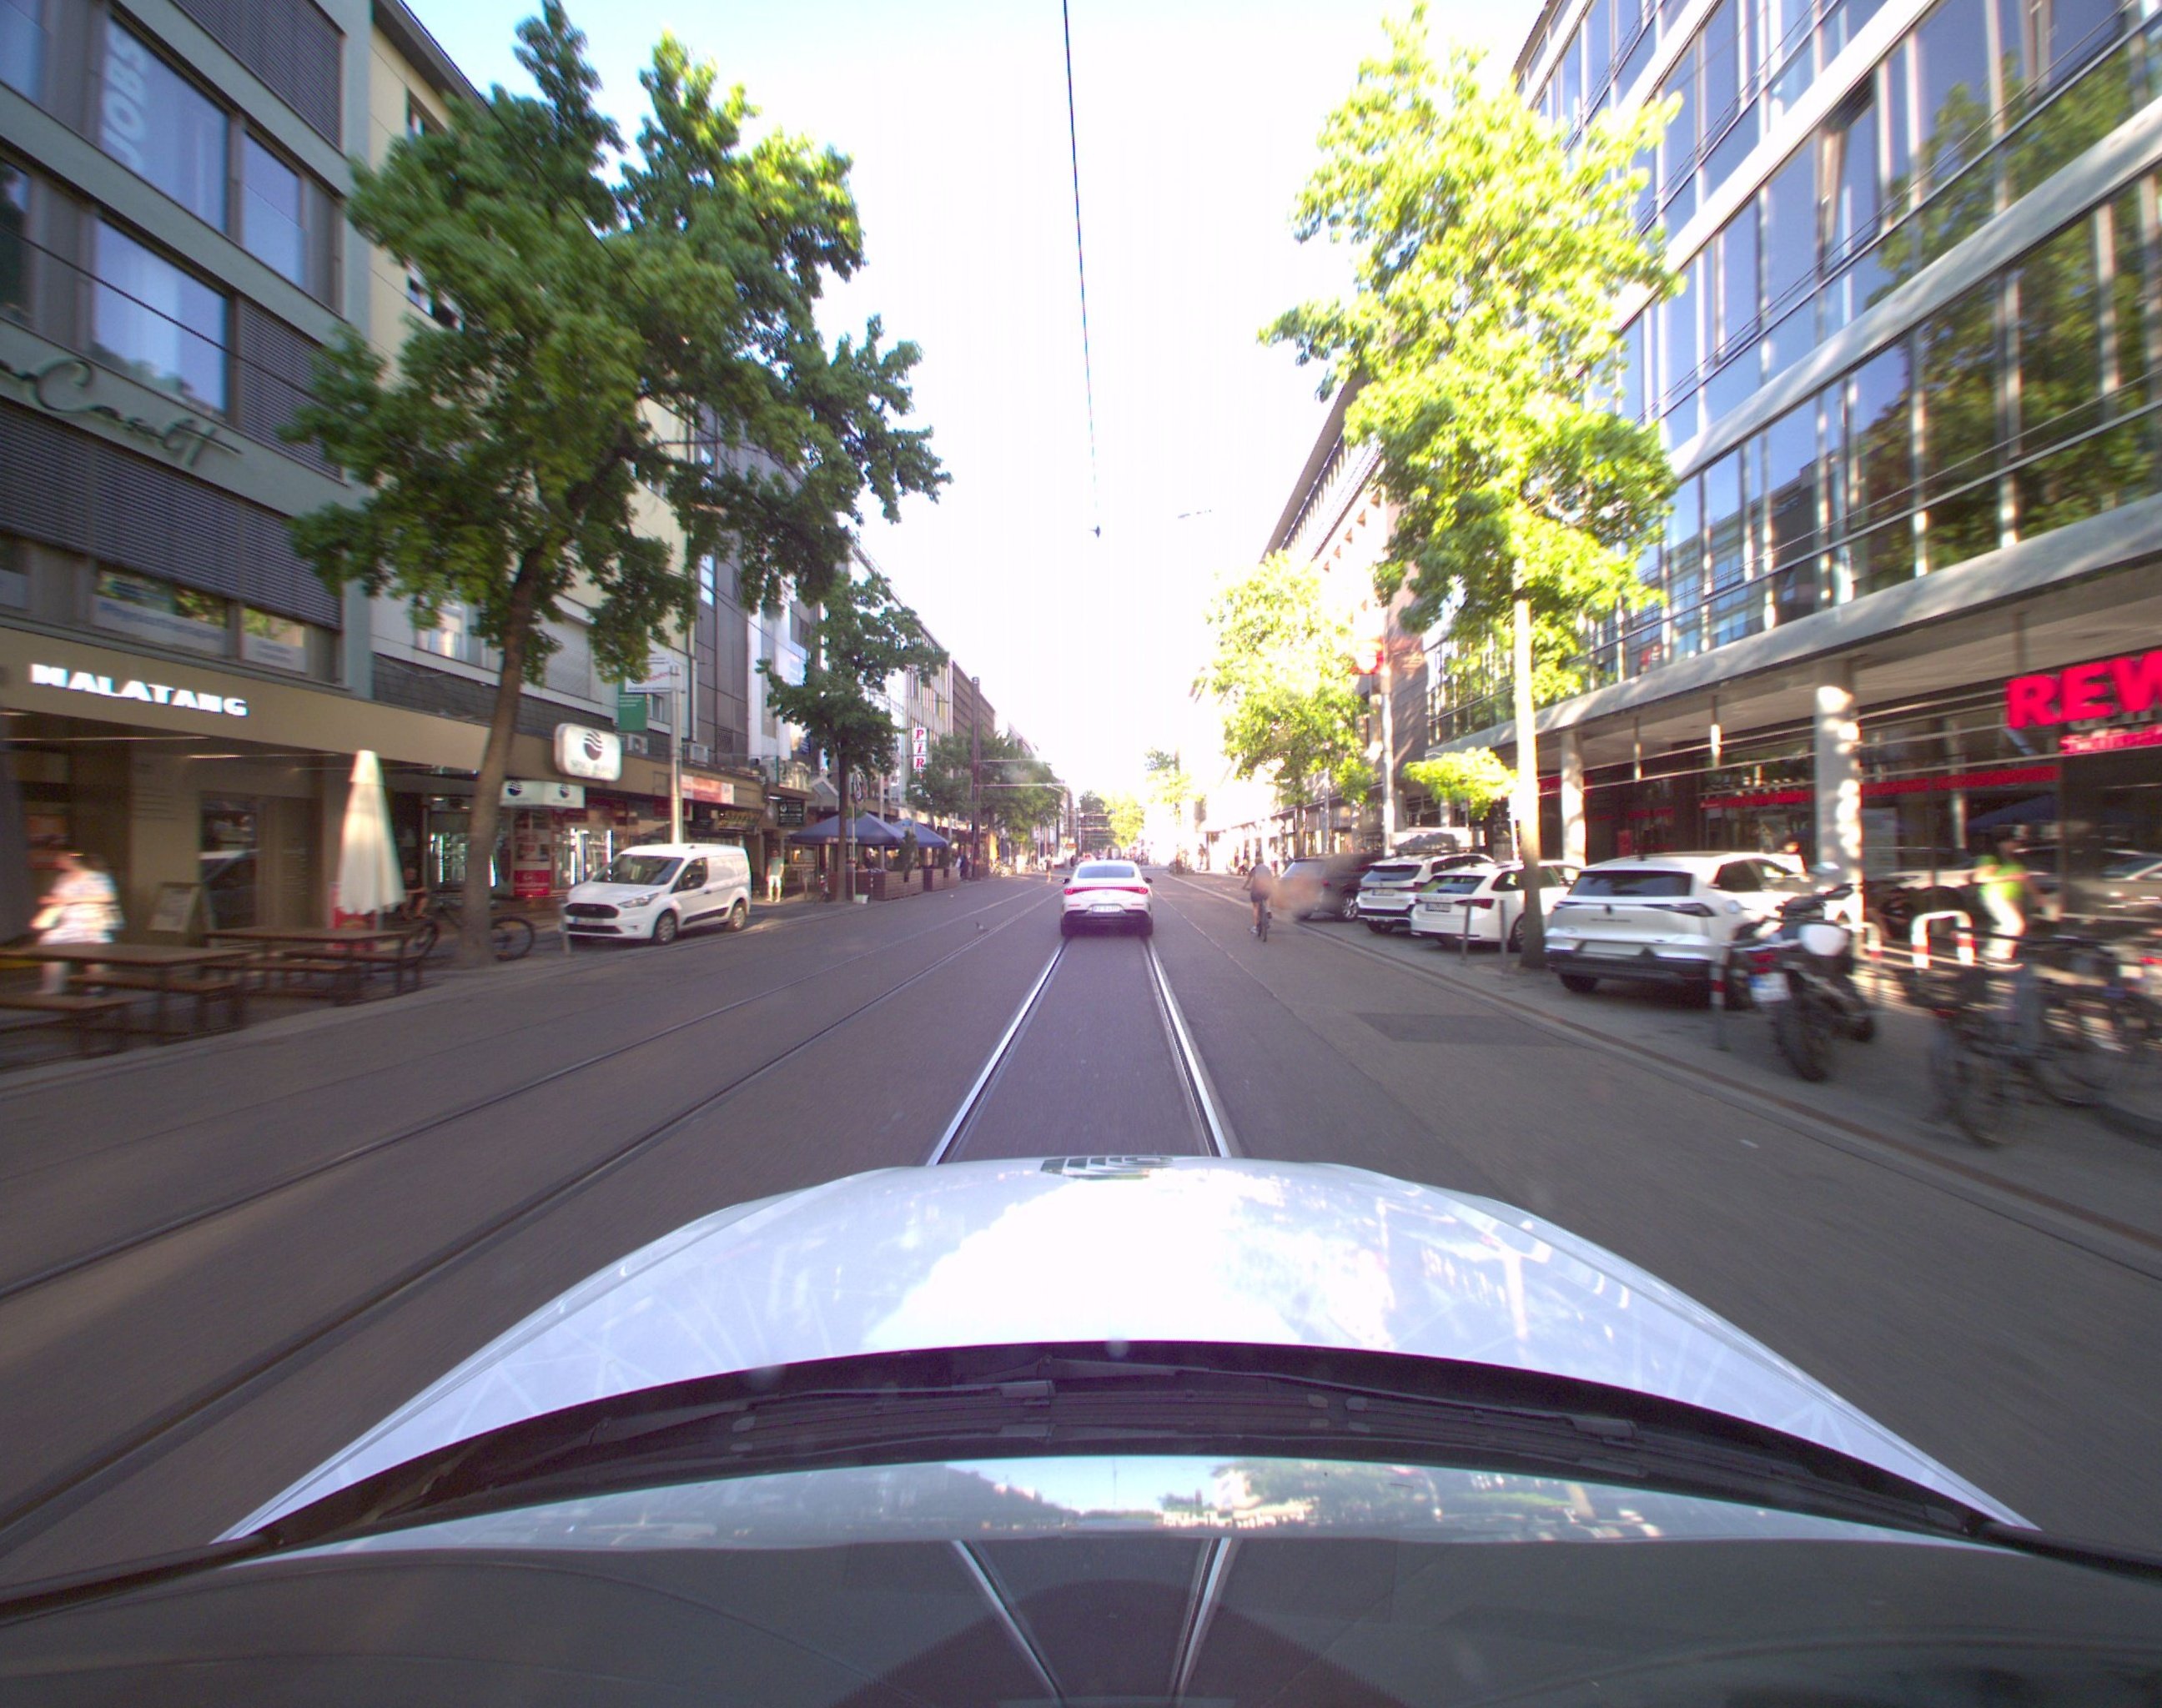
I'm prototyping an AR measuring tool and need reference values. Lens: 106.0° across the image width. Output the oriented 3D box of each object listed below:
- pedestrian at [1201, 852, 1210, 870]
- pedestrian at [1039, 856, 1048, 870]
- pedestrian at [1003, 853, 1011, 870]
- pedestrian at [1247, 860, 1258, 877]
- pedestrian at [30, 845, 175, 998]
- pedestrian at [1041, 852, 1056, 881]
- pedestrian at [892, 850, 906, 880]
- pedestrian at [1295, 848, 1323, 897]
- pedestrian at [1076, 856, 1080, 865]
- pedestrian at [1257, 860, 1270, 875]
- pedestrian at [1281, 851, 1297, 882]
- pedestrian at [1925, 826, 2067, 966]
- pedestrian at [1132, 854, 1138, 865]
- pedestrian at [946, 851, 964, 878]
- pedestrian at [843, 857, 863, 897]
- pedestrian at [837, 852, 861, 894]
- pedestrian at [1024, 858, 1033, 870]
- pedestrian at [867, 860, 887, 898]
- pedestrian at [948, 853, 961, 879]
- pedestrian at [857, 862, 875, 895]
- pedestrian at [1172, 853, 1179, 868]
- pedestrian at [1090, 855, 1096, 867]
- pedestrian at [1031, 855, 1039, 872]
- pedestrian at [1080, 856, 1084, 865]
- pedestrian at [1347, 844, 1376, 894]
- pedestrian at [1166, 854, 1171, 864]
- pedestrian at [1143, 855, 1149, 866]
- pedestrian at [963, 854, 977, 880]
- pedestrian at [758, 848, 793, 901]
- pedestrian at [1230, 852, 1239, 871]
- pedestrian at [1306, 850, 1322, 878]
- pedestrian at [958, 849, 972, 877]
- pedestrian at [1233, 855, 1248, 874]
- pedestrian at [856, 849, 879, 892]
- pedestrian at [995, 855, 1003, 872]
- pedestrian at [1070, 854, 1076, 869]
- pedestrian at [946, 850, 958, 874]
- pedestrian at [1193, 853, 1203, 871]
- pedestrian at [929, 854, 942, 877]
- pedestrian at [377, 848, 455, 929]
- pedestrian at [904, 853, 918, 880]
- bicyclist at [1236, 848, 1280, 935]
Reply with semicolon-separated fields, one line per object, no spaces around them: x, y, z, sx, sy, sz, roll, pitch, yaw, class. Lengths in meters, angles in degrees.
13.022;0.755;85.292;0.698;1.812;1.034;-4;-1;2;pedestrian
-4.539;1.112;98.535;0.901;1.698;0.849;-1;0;3;pedestrian
-7.880;0.770;86.852;0.789;1.767;0.533;-1;-1;-22;pedestrian
11.915;1.003;56.693;0.663;1.198;0.786;0;0;7;pedestrian
-10.596;0.702;8.843;0.645;1.574;0.700;2;0;2;pedestrian
-2.021;0.774;51.361;0.838;1.801;0.791;1;0;3;pedestrian
-10.629;0.644;47.586;0.594;1.745;0.672;1;0;3;pedestrian
8.112;0.652;28.958;0.672;1.685;0.700;-3;-1;36;pedestrian
-0.474;1.108;143.117;0.657;1.599;0.573;-1;-1;1;pedestrian
12.388;0.936;55.330;0.831;1.031;0.697;0;0;7;pedestrian
10.677;0.648;41.862;0.679;1.572;0.632;1;0;3;pedestrian
11.259;0.496;10.053;0.711;1.624;0.883;-2;0;4;pedestrian
8.823;0.895;133.410;0.957;1.785;0.804;-2;-1;2;pedestrian
-8.380;0.707;54.042;0.842;1.741;0.839;1;0;22;pedestrian
-8.217;0.831;29.349;0.547;1.429;0.583;0;0;1;pedestrian
-8.980;0.741;31.540;0.671;1.607;0.720;0;0;1;pedestrian
-6.573;1.218;101.471;0.952;1.496;0.945;-1;0;3;pedestrian
-7.325;0.886;29.269;0.547;1.356;0.583;0;0;1;pedestrian
-7.692;0.729;49.575;0.619;1.509;0.834;2;0;3;pedestrian
-8.088;0.919;30.658;0.493;1.228;0.535;0;0;1;pedestrian
11.722;0.772;101.341;0.745;1.785;0.767;-2;-1;2;pedestrian
1.743;1.007;120.304;0.797;1.782;0.849;1;-1;1;pedestrian
-4.941;1.024;87.342;0.784;1.801;0.845;0;-1;3;pedestrian
0.215;1.105;143.164;0.657;1.599;0.573;-1;-1;1;pedestrian
9.917;0.531;28.766;0.681;1.731;0.636;-3;-1;44;pedestrian
15.097;0.868;140.056;0.724;1.785;0.708;0;-1;2;pedestrian
10.978;1.094;137.165;0.957;1.785;0.804;-2;-1;2;pedestrian
-6.743;0.802;49.556;0.619;1.550;0.853;2;0;3;pedestrian
-9.887;0.653;26.403;0.664;1.686;1.005;1;0;2;pedestrian
13.143;0.647;69.861;0.634;1.653;0.781;0;-1;3;pedestrian
13.305;0.585;46.480;0.693;1.589;0.926;0;0;3;pedestrian
-8.150;0.629;57.393;0.798;1.923;1.071;2;0;-1;pedestrian
11.807;0.797;60.253;0.836;1.377;0.772;0;0;-20;pedestrian
-8.747;0.678;33.349;0.715;1.724;0.675;0;0;1;pedestrian
-8.001;0.913;79.514;0.712;1.640;0.684;-1;-1;-4;pedestrian
-1.002;0.912;100.913;0.576;1.929;0.534;0;-1;-44;pedestrian
-9.904;0.599;62.480;0.619;1.804;0.934;2;0;3;pedestrian
12.280;0.849;85.565;0.896;1.744;0.690;-4;-1;2;pedestrian
-9.745;0.753;54.472;0.619;1.526;0.810;2;0;3;pedestrian
-12.659;0.647;15.519;0.767;1.467;0.765;2;0;0;pedestrian
-9.924;0.724;47.559;0.594;1.533;0.672;1;0;3;pedestrian
3.432;0.710;15.807;0.772;1.613;0.915;1;0;11;bicyclist
